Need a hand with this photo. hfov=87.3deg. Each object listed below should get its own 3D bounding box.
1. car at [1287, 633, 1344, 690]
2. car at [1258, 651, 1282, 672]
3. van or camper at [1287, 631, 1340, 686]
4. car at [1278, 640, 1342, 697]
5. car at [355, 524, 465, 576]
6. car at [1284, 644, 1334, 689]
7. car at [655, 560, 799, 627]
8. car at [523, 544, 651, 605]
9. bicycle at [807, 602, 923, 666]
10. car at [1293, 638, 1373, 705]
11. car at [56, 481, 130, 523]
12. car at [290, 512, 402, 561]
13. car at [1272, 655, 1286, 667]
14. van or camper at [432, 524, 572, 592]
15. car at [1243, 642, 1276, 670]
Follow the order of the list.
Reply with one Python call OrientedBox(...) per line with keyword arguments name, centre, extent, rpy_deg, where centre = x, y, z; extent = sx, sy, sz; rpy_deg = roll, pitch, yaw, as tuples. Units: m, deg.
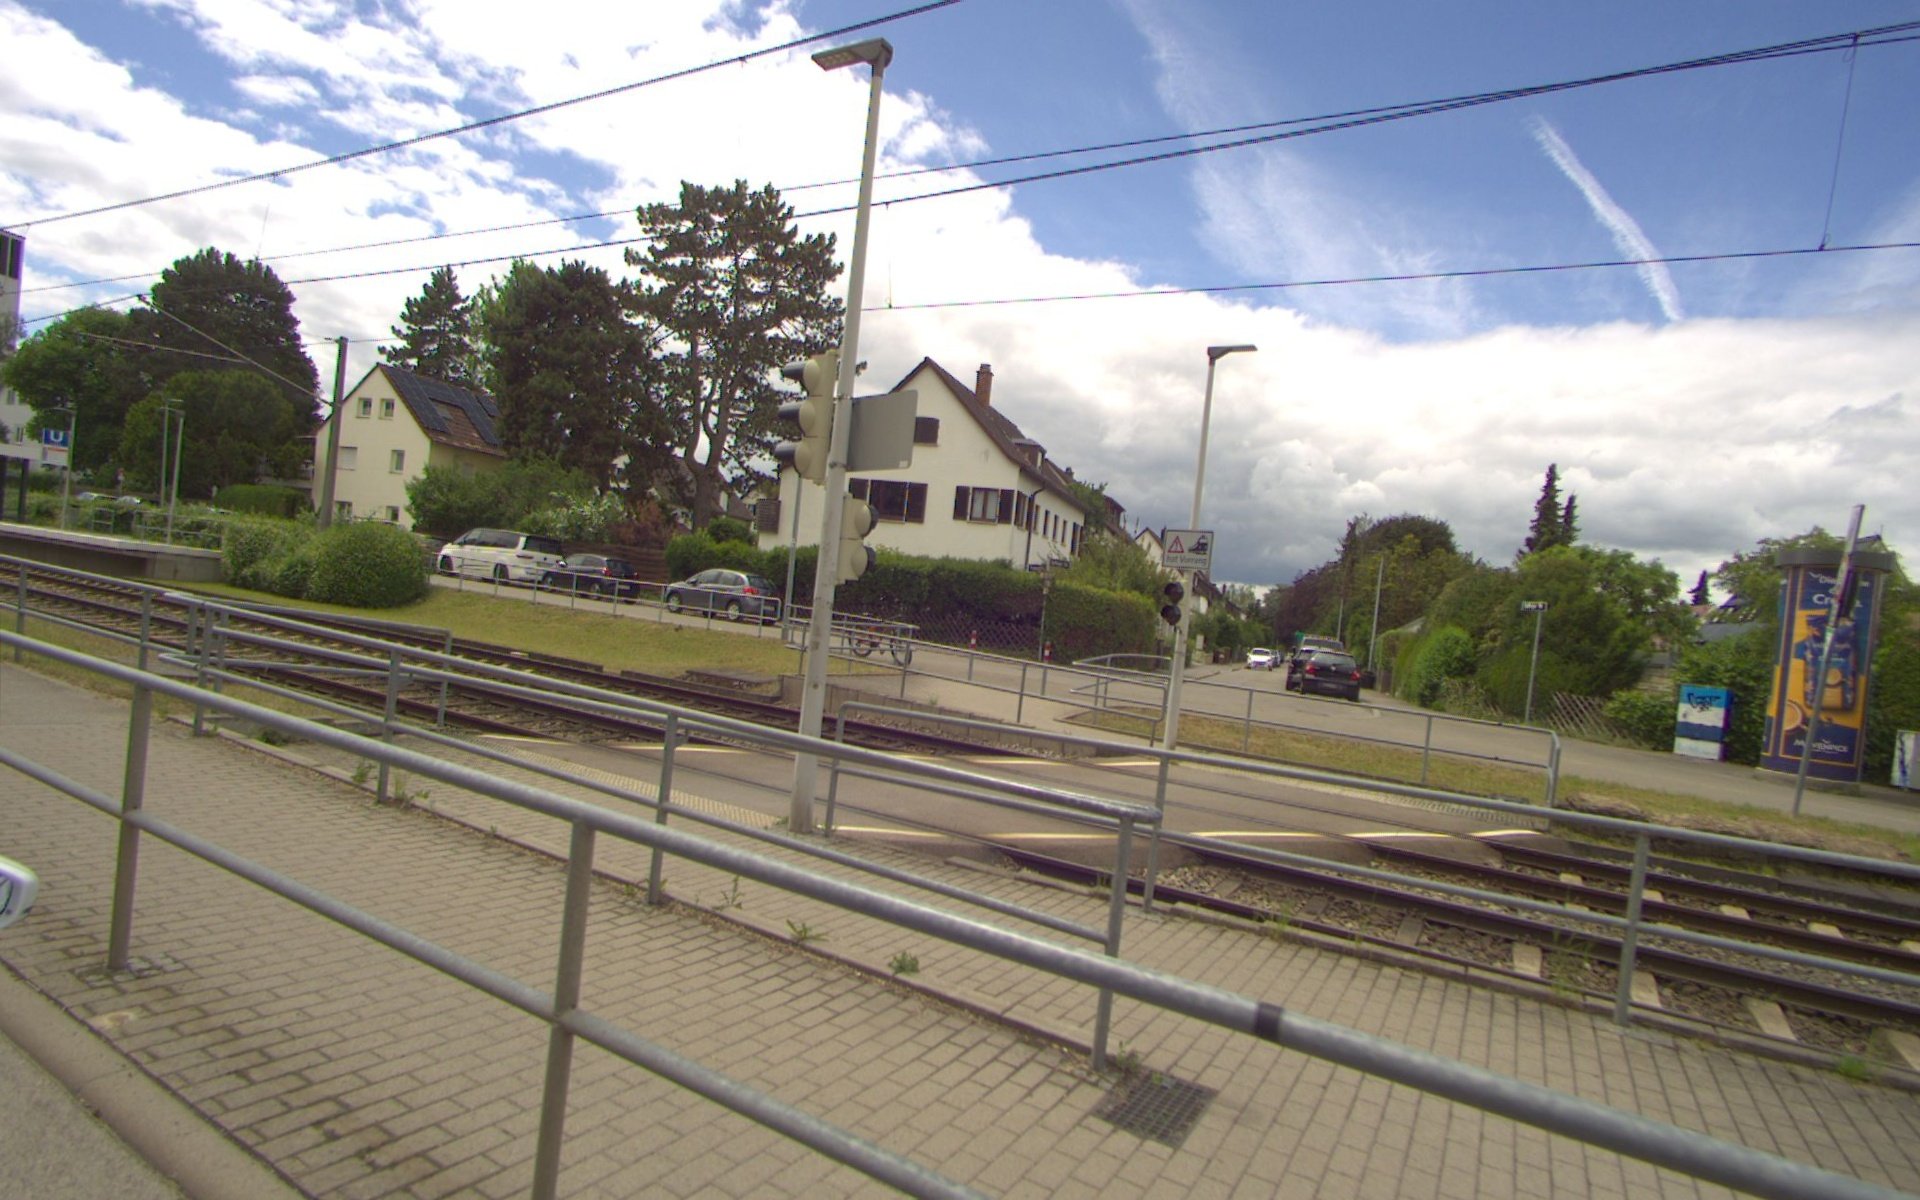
OrientedBox(name="car", centre=(13.702, 2.360, 38.912), extent=(1.791, 1.886, 3.643), rpy_deg=(7, 0, 18))
OrientedBox(name="car", centre=(30.123, 5.938, 97.734), extent=(1.962, 1.682, 4.001), rpy_deg=(6, 0, 18))
OrientedBox(name="van or camper", centre=(16.600, 2.736, 47.235), extent=(2.017, 2.266, 3.934), rpy_deg=(7, 0, 20))
OrientedBox(name="car", centre=(11.915, 2.297, 34.286), extent=(1.791, 1.643, 3.973), rpy_deg=(7, 0, 19))
OrientedBox(name="car", centre=(-21.243, -1.936, 38.846), extent=(3.933, 1.541, 1.886), rpy_deg=(6, 0, 31))
OrientedBox(name="car", centre=(15.036, 2.828, 43.362), extent=(1.791, 1.643, 3.642), rpy_deg=(7, 0, 20))
OrientedBox(name="car", centre=(-7.089, -0.190, 30.558), extent=(3.933, 1.541, 1.886), rpy_deg=(6, 0, 31))
OrientedBox(name="car", centre=(-12.482, -0.855, 33.615), extent=(3.933, 1.541, 1.886), rpy_deg=(6, 0, 31))
OrientedBox(name="bicycle", centre=(-2.007, 0.697, 21.021), extent=(2.497, 1.058, 0.538), rpy_deg=(6, 0, 31))
OrientedBox(name="car", centre=(10.934, 2.061, 29.694), extent=(1.791, 1.643, 3.733), rpy_deg=(7, 0, 17))
OrientedBox(name="car", centre=(-45.946, -5.211, 53.311), extent=(3.869, 1.772, 1.735), rpy_deg=(7, -1, 31))
OrientedBox(name="car", centre=(-29.681, -3.045, 48.786), extent=(1.715, 1.970, 4.334), rpy_deg=(7, 2, 24))
OrientedBox(name="car", centre=(50.858, 9.717, 160.343), extent=(1.962, 1.682, 4.001), rpy_deg=(6, 0, 18))
OrientedBox(name="van or camper", centre=(-16.360, -1.519, 35.863), extent=(4.962, 1.848, 1.908), rpy_deg=(6, 0, 30))
OrientedBox(name="car", centre=(21.042, 3.907, 70.653), extent=(1.962, 1.682, 4.001), rpy_deg=(6, 0, 18))
